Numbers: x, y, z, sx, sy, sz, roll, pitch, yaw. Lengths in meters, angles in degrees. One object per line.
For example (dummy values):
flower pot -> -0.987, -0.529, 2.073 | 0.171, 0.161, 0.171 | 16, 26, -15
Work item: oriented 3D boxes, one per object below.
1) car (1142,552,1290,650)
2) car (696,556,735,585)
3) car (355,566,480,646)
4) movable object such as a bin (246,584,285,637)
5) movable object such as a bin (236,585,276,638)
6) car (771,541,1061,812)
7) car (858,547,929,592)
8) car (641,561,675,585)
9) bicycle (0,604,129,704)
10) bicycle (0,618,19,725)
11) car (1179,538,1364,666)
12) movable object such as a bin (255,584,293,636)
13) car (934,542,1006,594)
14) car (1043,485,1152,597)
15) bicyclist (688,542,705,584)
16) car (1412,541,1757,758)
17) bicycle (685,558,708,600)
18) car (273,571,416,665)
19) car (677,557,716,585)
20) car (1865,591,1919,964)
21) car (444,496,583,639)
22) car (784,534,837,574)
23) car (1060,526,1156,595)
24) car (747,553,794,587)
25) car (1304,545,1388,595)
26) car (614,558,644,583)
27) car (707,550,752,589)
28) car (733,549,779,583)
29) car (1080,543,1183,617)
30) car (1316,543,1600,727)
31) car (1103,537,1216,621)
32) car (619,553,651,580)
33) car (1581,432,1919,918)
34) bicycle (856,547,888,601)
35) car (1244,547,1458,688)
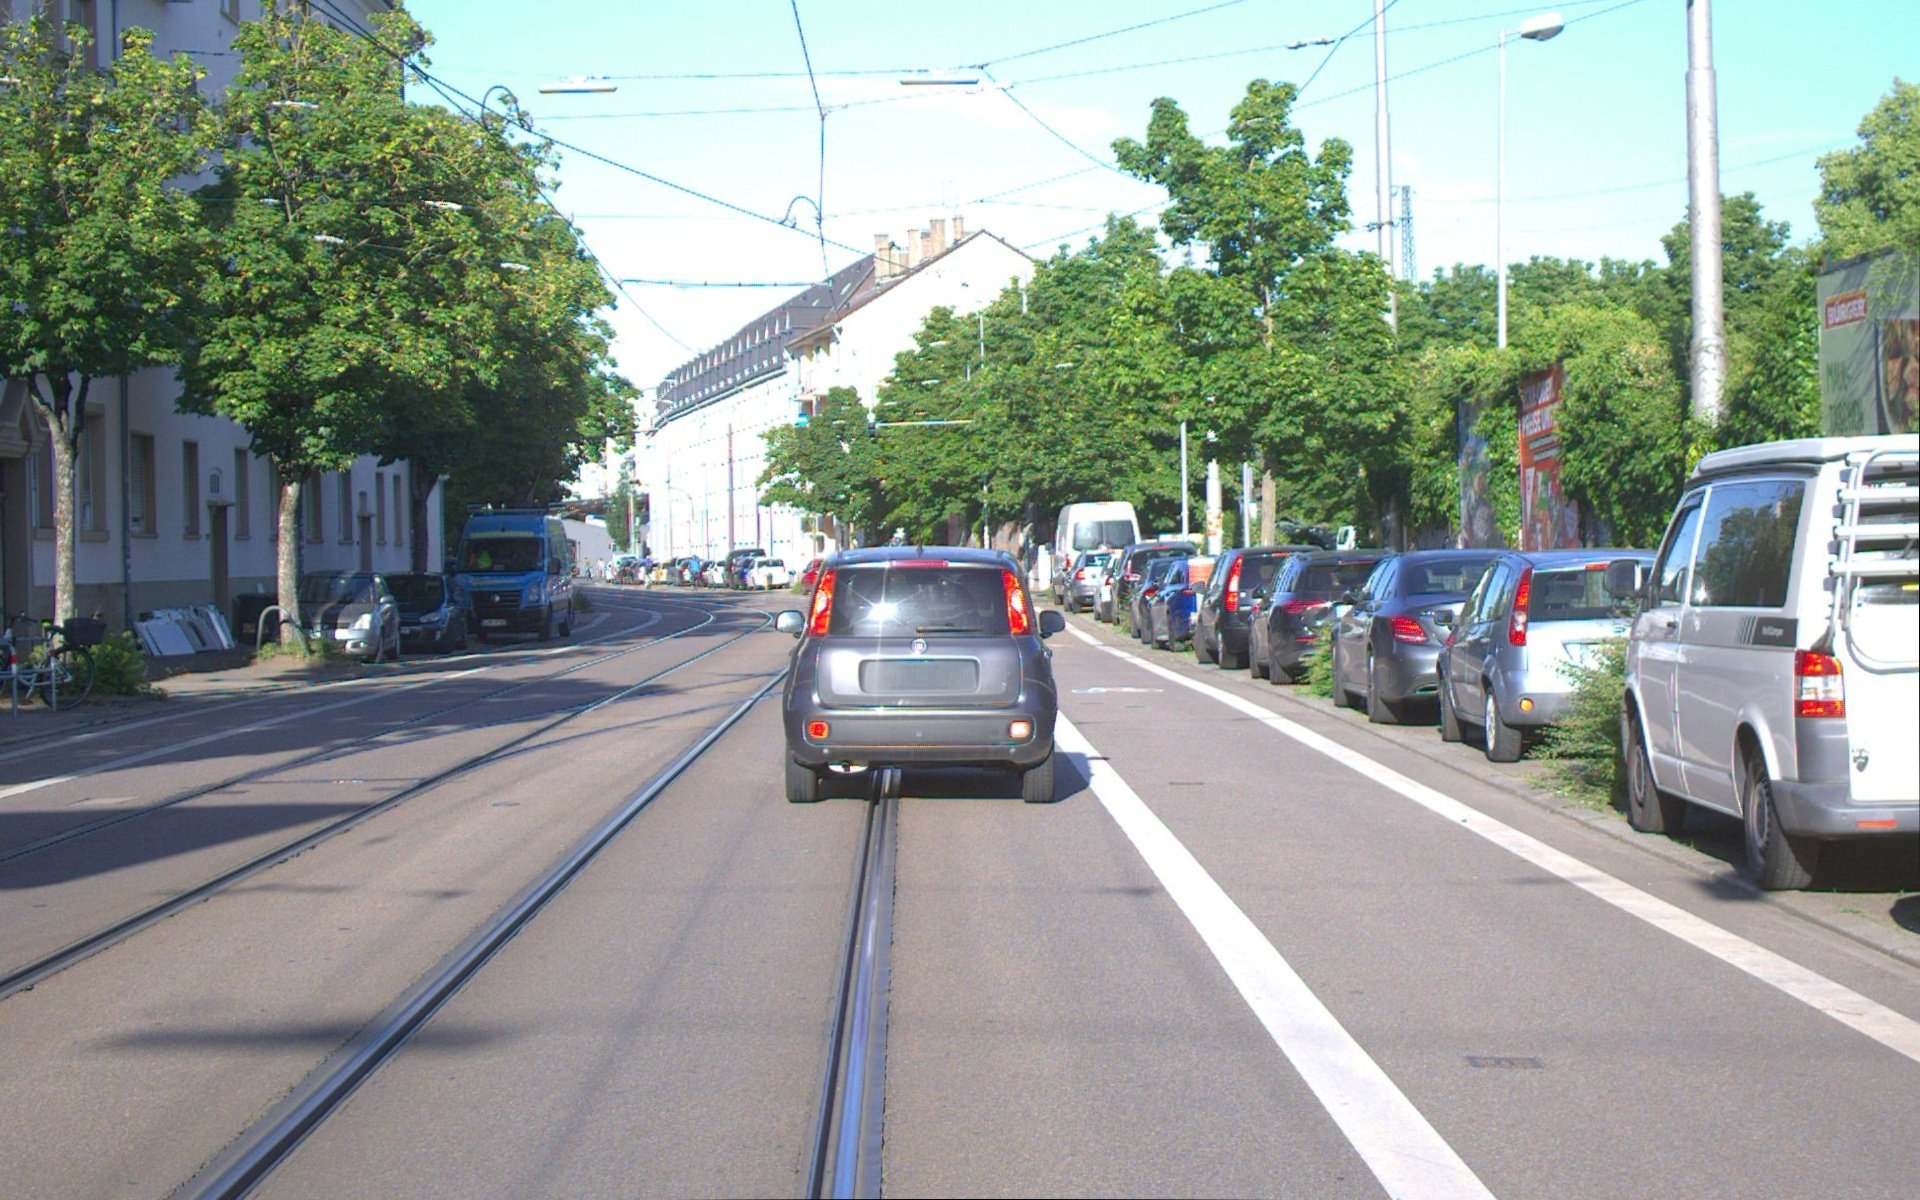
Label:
car -> 3.931, 0.000, 53.402 | 1.727, 1.459, 4.342 | 0, 1, -3
car -> -12.634, -1.509, 177.445 | 1.655, 1.495, 3.130 | 0, 1, -11
car -> -9.884, 0.091, 62.840 | 1.651, 1.420, 4.190 | 0, 1, 0
movable object such as a bin -> -12.612, 0.193, 62.402 | 0.596, 0.931, 0.569 | -2, 1, -3
movable object such as a bin -> -12.651, 0.199, 61.807 | 0.596, 0.931, 0.569 | -2, 1, -3
car -> -0.286, 0.412, 21.762 | 1.650, 1.536, 4.235 | 0, 1, -1
car -> -2.401, -1.085, 123.706 | 1.688, 1.525, 4.001 | -3, 1, -13
car -> -17.516, -1.583, 199.317 | 1.582, 1.400, 3.377 | 0, 1, -12
bicycle -> -9.877, 0.573, 36.691 | 0.532, 1.036, 1.982 | 0, 1, 44
bicycle -> -9.981, 0.698, 33.032 | 0.668, 1.036, 1.783 | 0, 1, 37
car -> 3.983, 0.002, 44.519 | 1.824, 1.487, 3.815 | -3, 1, -2
movable object such as a bin -> -12.690, 0.182, 63.603 | 0.596, 0.931, 0.569 | -2, 1, -3
car -> 0.301, -0.988, 107.639 | 1.688, 1.525, 4.001 | -3, 1, -7
car -> 3.479, -1.499, 88.335 | 2.180, 2.656, 6.091 | -3, 1, -2
bicyclist -> -12.578, -1.768, 164.095 | 0.715, 2.007, 0.832 | 0, 0, -12
car -> 4.485, 0.317, 25.261 | 1.873, 1.467, 4.075 | 0, 1, 1
bicycle -> -12.564, -1.015, 163.954 | 0.741, 2.007, 2.812 | 0, 0, -12
car -> -10.080, 0.271, 56.521 | 1.651, 1.486, 4.000 | 0, 1, 0
car -> -14.138, -1.560, 184.550 | 1.582, 1.400, 3.377 | -5, 1, -11
car -> 4.546, 0.661, 11.396 | 1.675, 1.413, 4.503 | -3, 1, -2
car -> -9.125, -0.671, 70.730 | 2.017, 2.816, 6.032 | 0, 1, 0
car -> -6.060, -1.859, 138.910 | 1.635, 1.503, 3.398 | -4, 1, -10
car -> 3.489, -0.939, 81.740 | 1.910, 1.524, 4.601 | -2, 1, -2
car -> -8.675, -1.379, 157.178 | 1.655, 1.566, 3.500 | 0, 1, -11
car -> 8.048, -0.625, 71.833 | 1.309, 1.030, 3.057 | 0, 1, -2
car -> -21.508, -1.902, 223.382 | 1.582, 1.593, 3.377 | 0, 1, -12
car -> -11.488, -1.511, 171.080 | 1.655, 1.937, 4.666 | 0, 1, -11
car -> -9.588, -1.587, 161.533 | 1.655, 1.566, 3.877 | 0, 1, -11
car -> 3.589, -0.433, 72.535 | 1.727, 1.507, 4.252 | 0, 1, -3
car -> 4.249, 0.262, 29.973 | 1.824, 1.479, 4.601 | 0, 1, 0
car -> 3.901, -0.421, 67.755 | 1.727, 1.599, 4.343 | 0, 1, -3
car -> -19.991, -2.062, 211.477 | 1.582, 1.593, 3.377 | 0, 1, -12
car -> 4.398, 0.263, 16.721 | 1.854, 1.984, 5.242 | -1, 1, 1
bicycle -> -2.869, -0.841, 111.767 | 0.675, 1.741, 2.158 | 0, 0, -12
car -> 4.306, 0.161, 38.468 | 1.824, 1.447, 4.642 | -1, 1, 0
